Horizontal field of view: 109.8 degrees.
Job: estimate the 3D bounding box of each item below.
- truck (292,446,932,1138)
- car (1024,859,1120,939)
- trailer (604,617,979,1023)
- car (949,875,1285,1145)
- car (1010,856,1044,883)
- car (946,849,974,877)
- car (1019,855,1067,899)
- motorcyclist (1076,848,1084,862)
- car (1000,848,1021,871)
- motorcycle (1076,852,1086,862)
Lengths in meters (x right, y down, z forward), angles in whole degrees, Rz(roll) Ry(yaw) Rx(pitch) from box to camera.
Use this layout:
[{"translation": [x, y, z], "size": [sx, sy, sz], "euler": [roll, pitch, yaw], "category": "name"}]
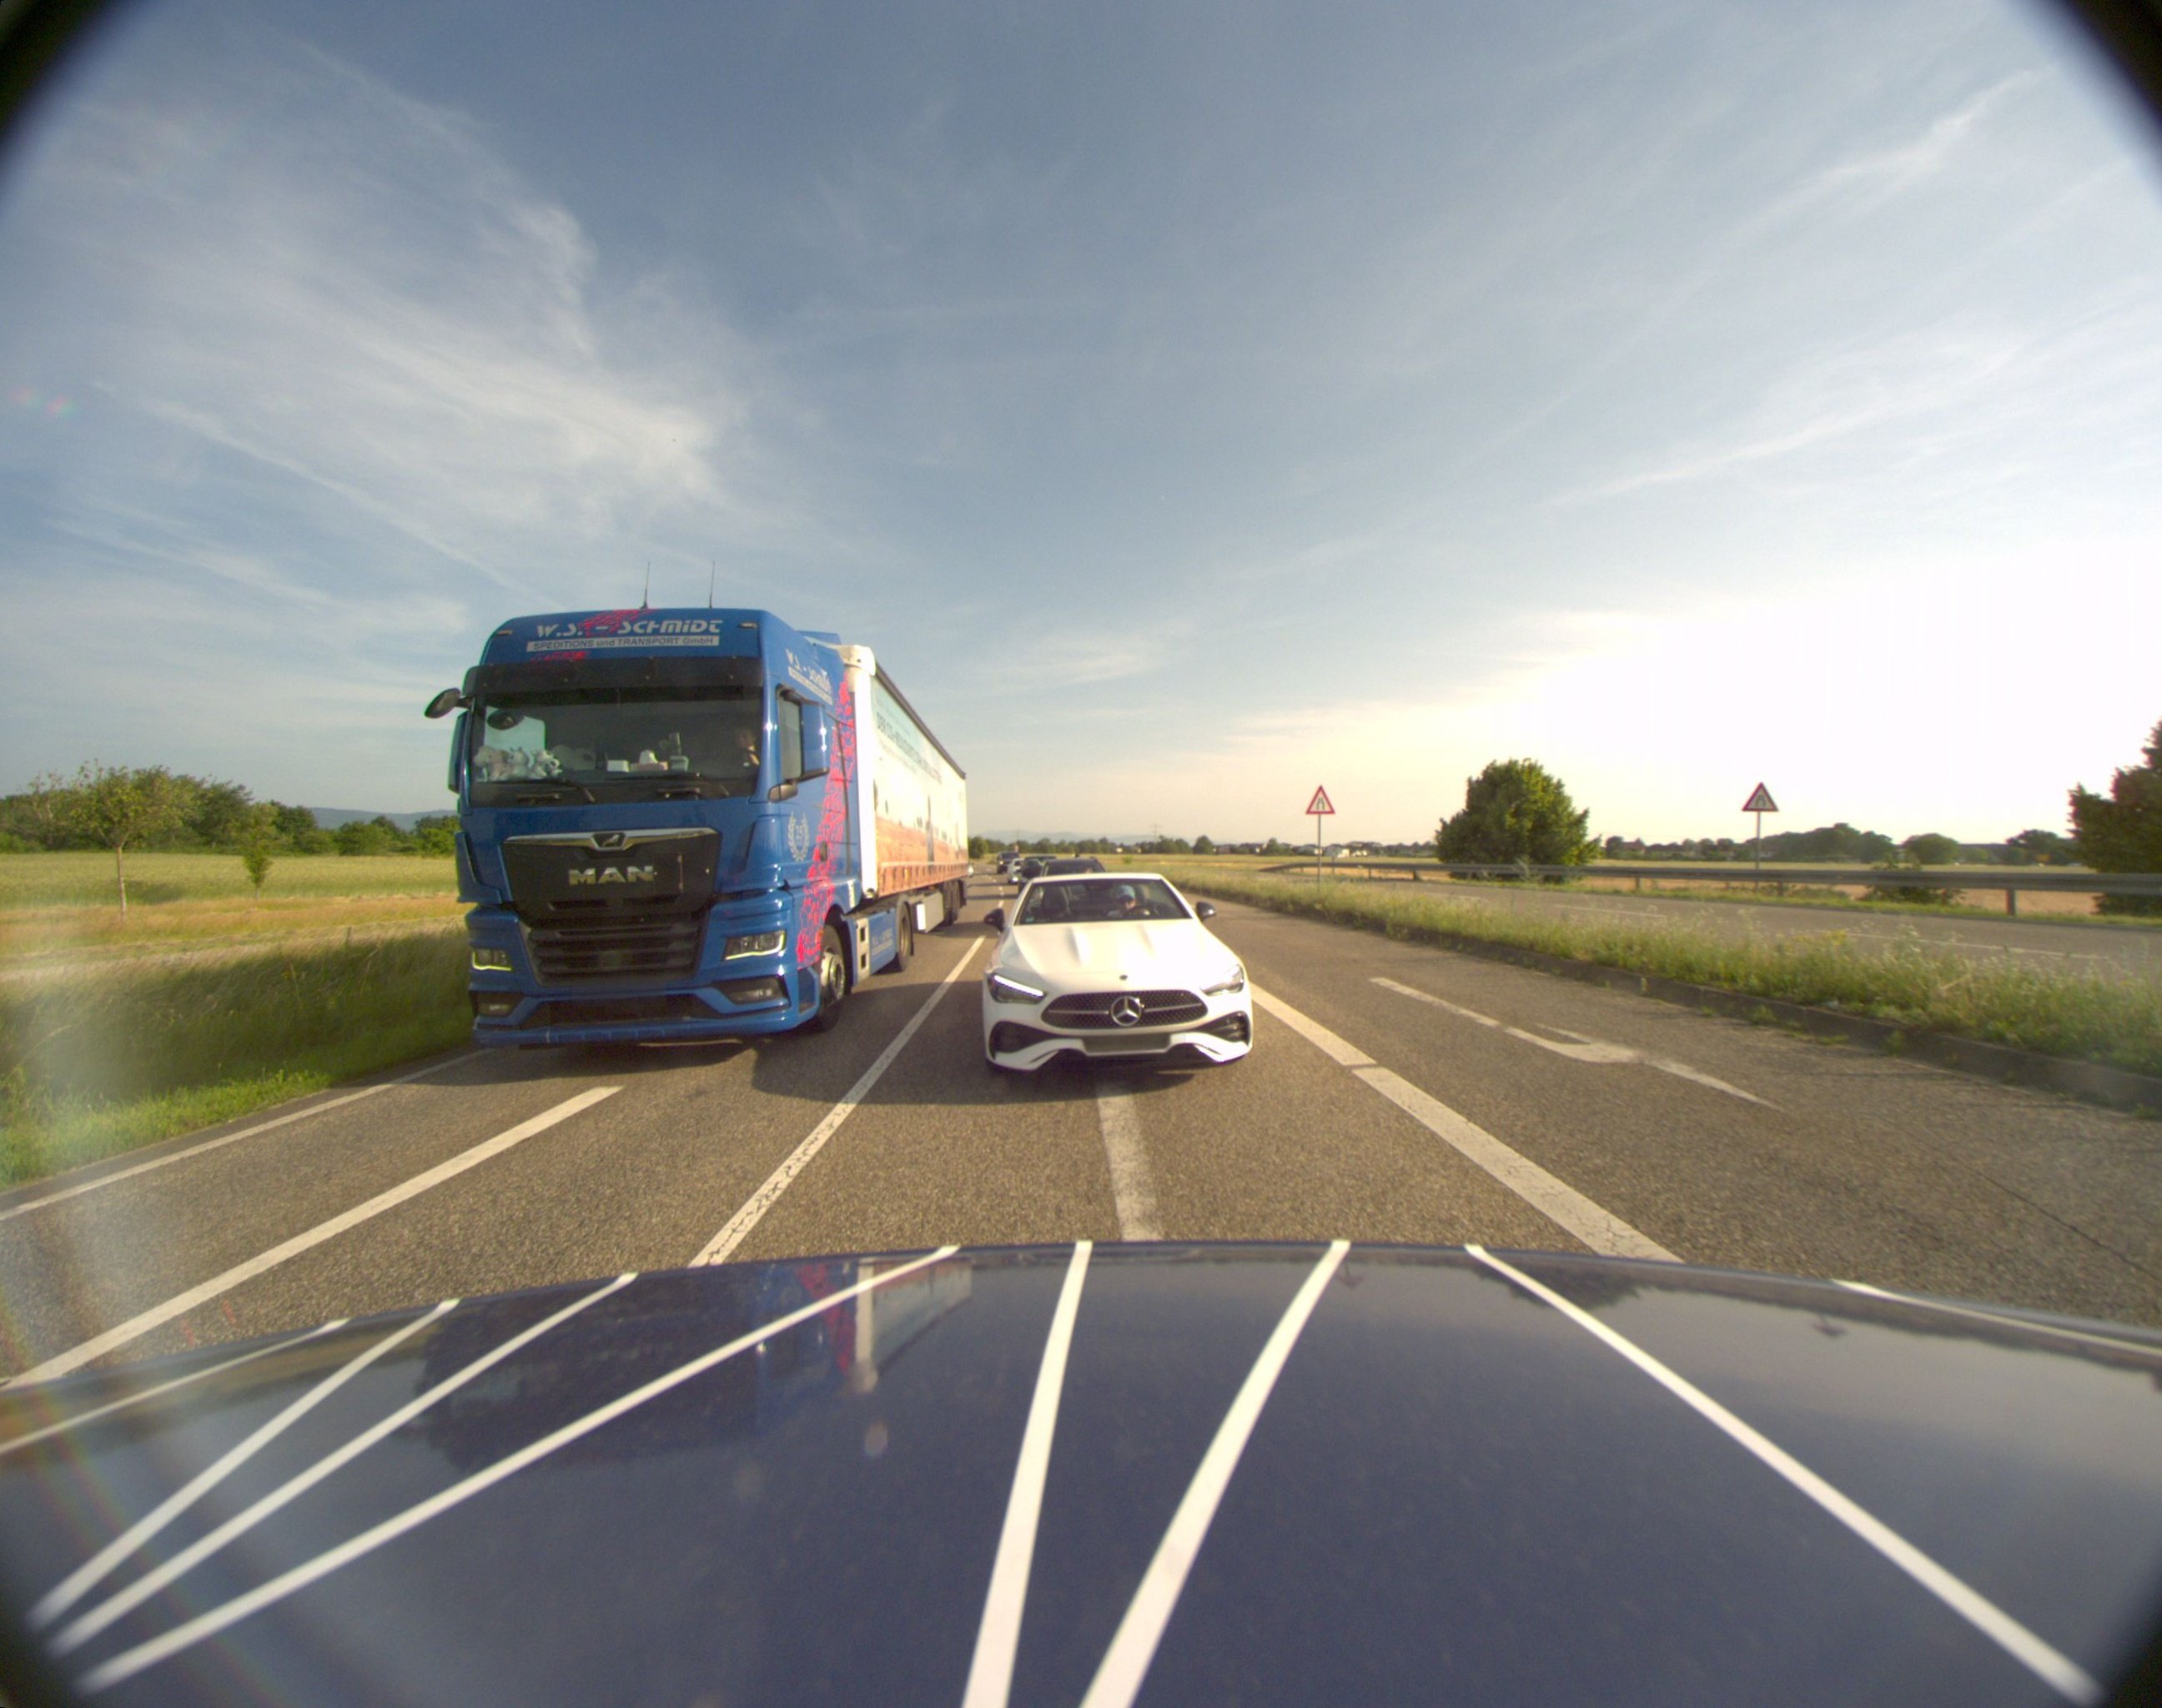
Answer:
[{"translation": [-3.707, -0.468, 8.067], "size": [3.309, 4.631, 5.729], "euler": [-2, 1, -4], "category": "truck"}, {"translation": [-0.302, 0.877, 16.506], "size": [1.586, 1.496, 3.658], "euler": [-1, 0, -8], "category": "car"}, {"translation": [-4.211, -0.515, 15.428], "size": [3.291, 4.654, 13.139], "euler": [-2, 1, -4], "category": "trailer"}, {"translation": [0.165, 0.975, 6.454], "size": [1.941, 1.389, 3.917], "euler": [-2, 1, -2], "category": "car"}, {"translation": [-3.002, 0.827, 41.819], "size": [1.558, 1.392, 4.032], "euler": [-1, 0, -8], "category": "car"}, {"translation": [-9.104, 0.642, 57.541], "size": [2.000, 2.002, 3.997], "euler": [-1, 0, -8], "category": "car"}, {"translation": [-1.492, 0.830, 28.923], "size": [1.558, 1.550, 3.046], "euler": [-1, 0, -8], "category": "car"}, {"translation": [-0.096, 0.104, 93.459], "size": [0.906, 1.748, 0.831], "euler": [-2, 1, -6], "category": "motorcyclist"}, {"translation": [-5.971, 0.449, 64.333], "size": [1.558, 1.909, 4.032], "euler": [-1, 0, -8], "category": "car"}, {"translation": [-0.026, 0.390, 93.105], "size": [0.940, 1.118, 2.169], "euler": [-2, 0, -5], "category": "motorcycle"}]
